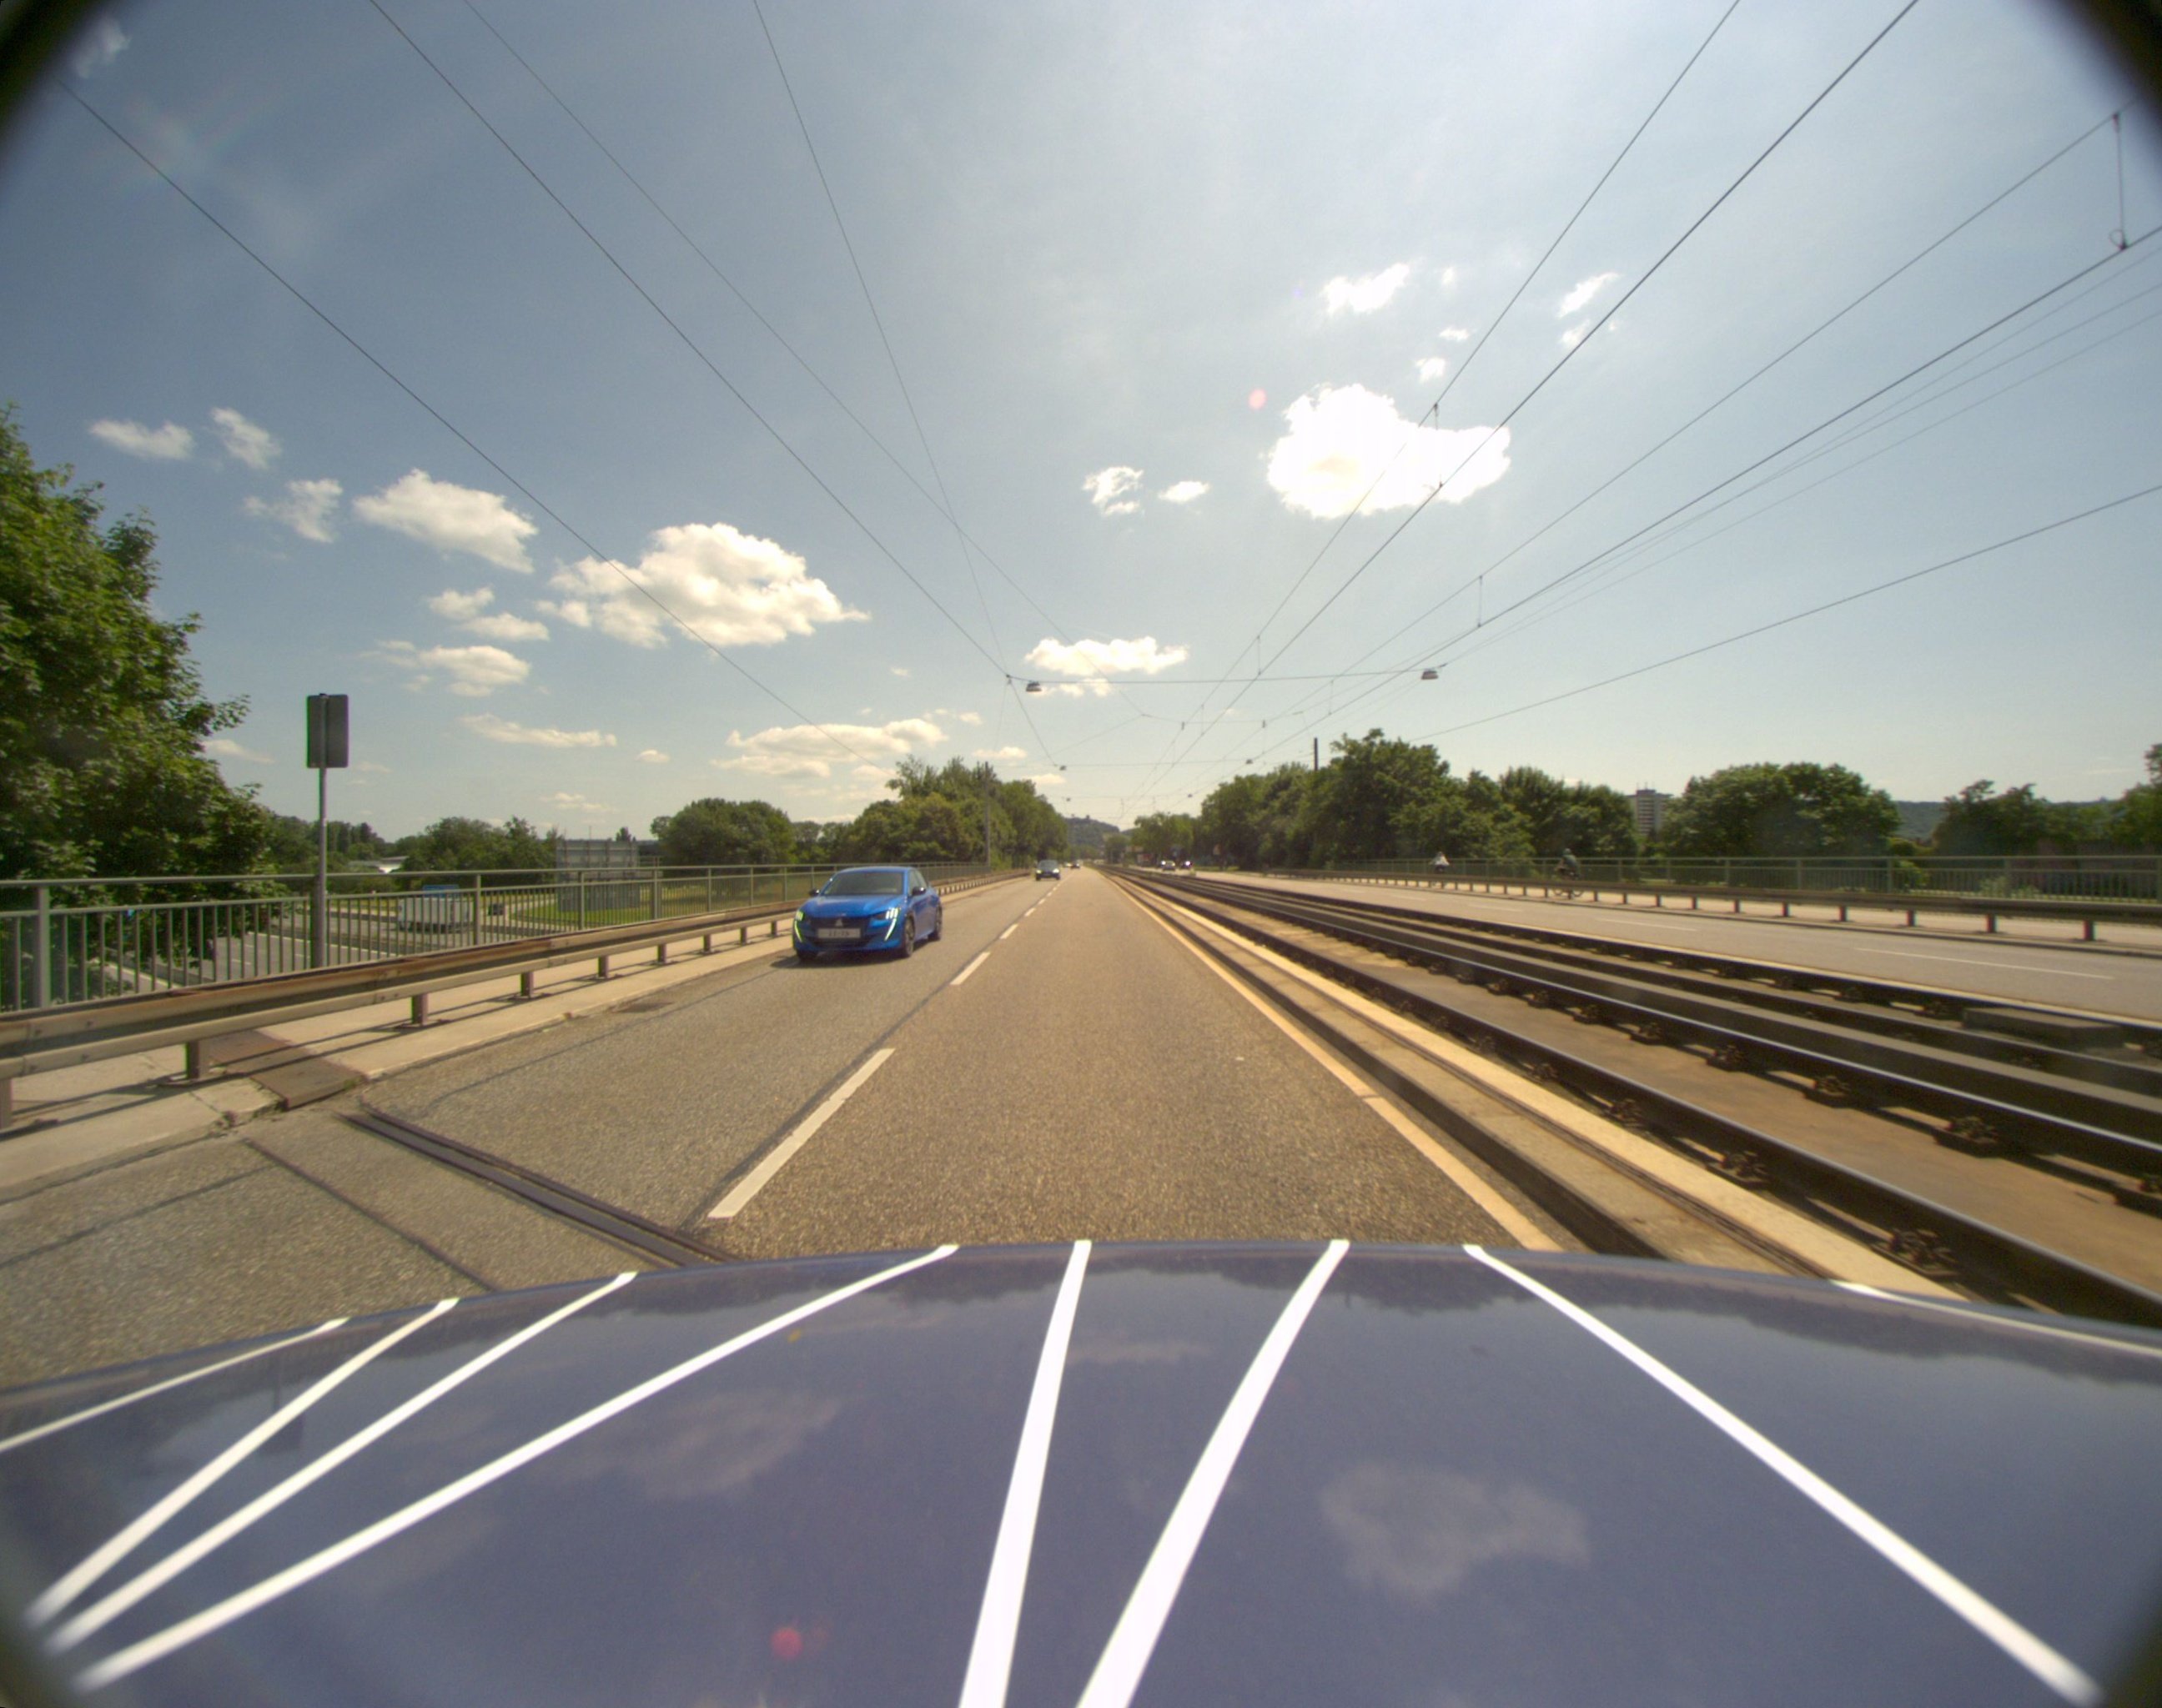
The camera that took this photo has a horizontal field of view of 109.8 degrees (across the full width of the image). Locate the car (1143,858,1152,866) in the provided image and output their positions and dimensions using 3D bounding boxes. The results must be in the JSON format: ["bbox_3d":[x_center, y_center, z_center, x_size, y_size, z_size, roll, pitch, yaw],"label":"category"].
[{"bbox_3d":[16.154,1.909,183.842,1.816,1.914,5.179,1,0,1],"label":"car"}]

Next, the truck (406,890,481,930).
[{"bbox_3d":[-80.661,6.941,95.996,14.746,4.196,2.837,0,2,33],"label":"truck"}]

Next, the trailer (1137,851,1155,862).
[{"bbox_3d":[21.854,0.931,255.728,3.388,3.633,12.101,0,-1,-7],"label":"trailer"}]

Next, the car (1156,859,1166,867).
[{"bbox_3d":[14.925,1.707,141.876,1.578,1.392,3.938,0,0,0],"label":"car"}]

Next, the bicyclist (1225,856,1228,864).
[{"bbox_3d":[27.384,1.118,142.891,0.570,1.360,0.631,-2,1,5],"label":"bicyclist"}]

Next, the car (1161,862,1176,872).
[{"bbox_3d":[12.968,1.878,112.388,1.715,1.412,4.624,1,0,1],"label":"car"}]

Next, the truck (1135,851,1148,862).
[{"bbox_3d":[20.967,0.909,263.389,3.418,3.680,6.756,0,0,-7],"label":"truck"}]

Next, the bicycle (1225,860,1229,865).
[{"bbox_3d":[27.396,1.568,142.878,0.587,0.814,2.069,-2,1,6],"label":"bicycle"}]

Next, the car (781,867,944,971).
[{"bbox_3d":[-3.499,0.975,12.890,1.660,1.397,3.743,-1,0,0],"label":"car"}]

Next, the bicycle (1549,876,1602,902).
[{"bbox_3d":[17.790,1.233,27.380,0.524,0.838,2.036,-2,-1,-1],"label":"bicycle"}]

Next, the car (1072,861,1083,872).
[{"bbox_3d":[-0.714,2.505,153.957,1.999,2.002,4.000,-1,0,0],"label":"car"}]

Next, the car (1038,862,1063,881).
[{"bbox_3d":[-2.346,1.336,58.862,1.769,1.359,3.743,-1,0,0],"label":"car"}]

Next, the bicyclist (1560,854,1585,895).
[{"bbox_3d":[17.772,0.740,27.497,0.522,1.488,0.530,-1,0,0],"label":"bicyclist"}]

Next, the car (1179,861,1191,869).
[{"bbox_3d":[18.211,1.947,133.125,1.567,1.339,3.929,1,0,1],"label":"car"}]

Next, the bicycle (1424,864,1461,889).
[{"bbox_3d":[18.218,1.105,38.309,0.859,1.178,2.062,-1,0,0],"label":"bicycle"}]

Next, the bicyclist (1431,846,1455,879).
[{"bbox_3d":[18.191,0.406,38.222,0.765,1.612,0.838,-1,0,0],"label":"bicyclist"}]
